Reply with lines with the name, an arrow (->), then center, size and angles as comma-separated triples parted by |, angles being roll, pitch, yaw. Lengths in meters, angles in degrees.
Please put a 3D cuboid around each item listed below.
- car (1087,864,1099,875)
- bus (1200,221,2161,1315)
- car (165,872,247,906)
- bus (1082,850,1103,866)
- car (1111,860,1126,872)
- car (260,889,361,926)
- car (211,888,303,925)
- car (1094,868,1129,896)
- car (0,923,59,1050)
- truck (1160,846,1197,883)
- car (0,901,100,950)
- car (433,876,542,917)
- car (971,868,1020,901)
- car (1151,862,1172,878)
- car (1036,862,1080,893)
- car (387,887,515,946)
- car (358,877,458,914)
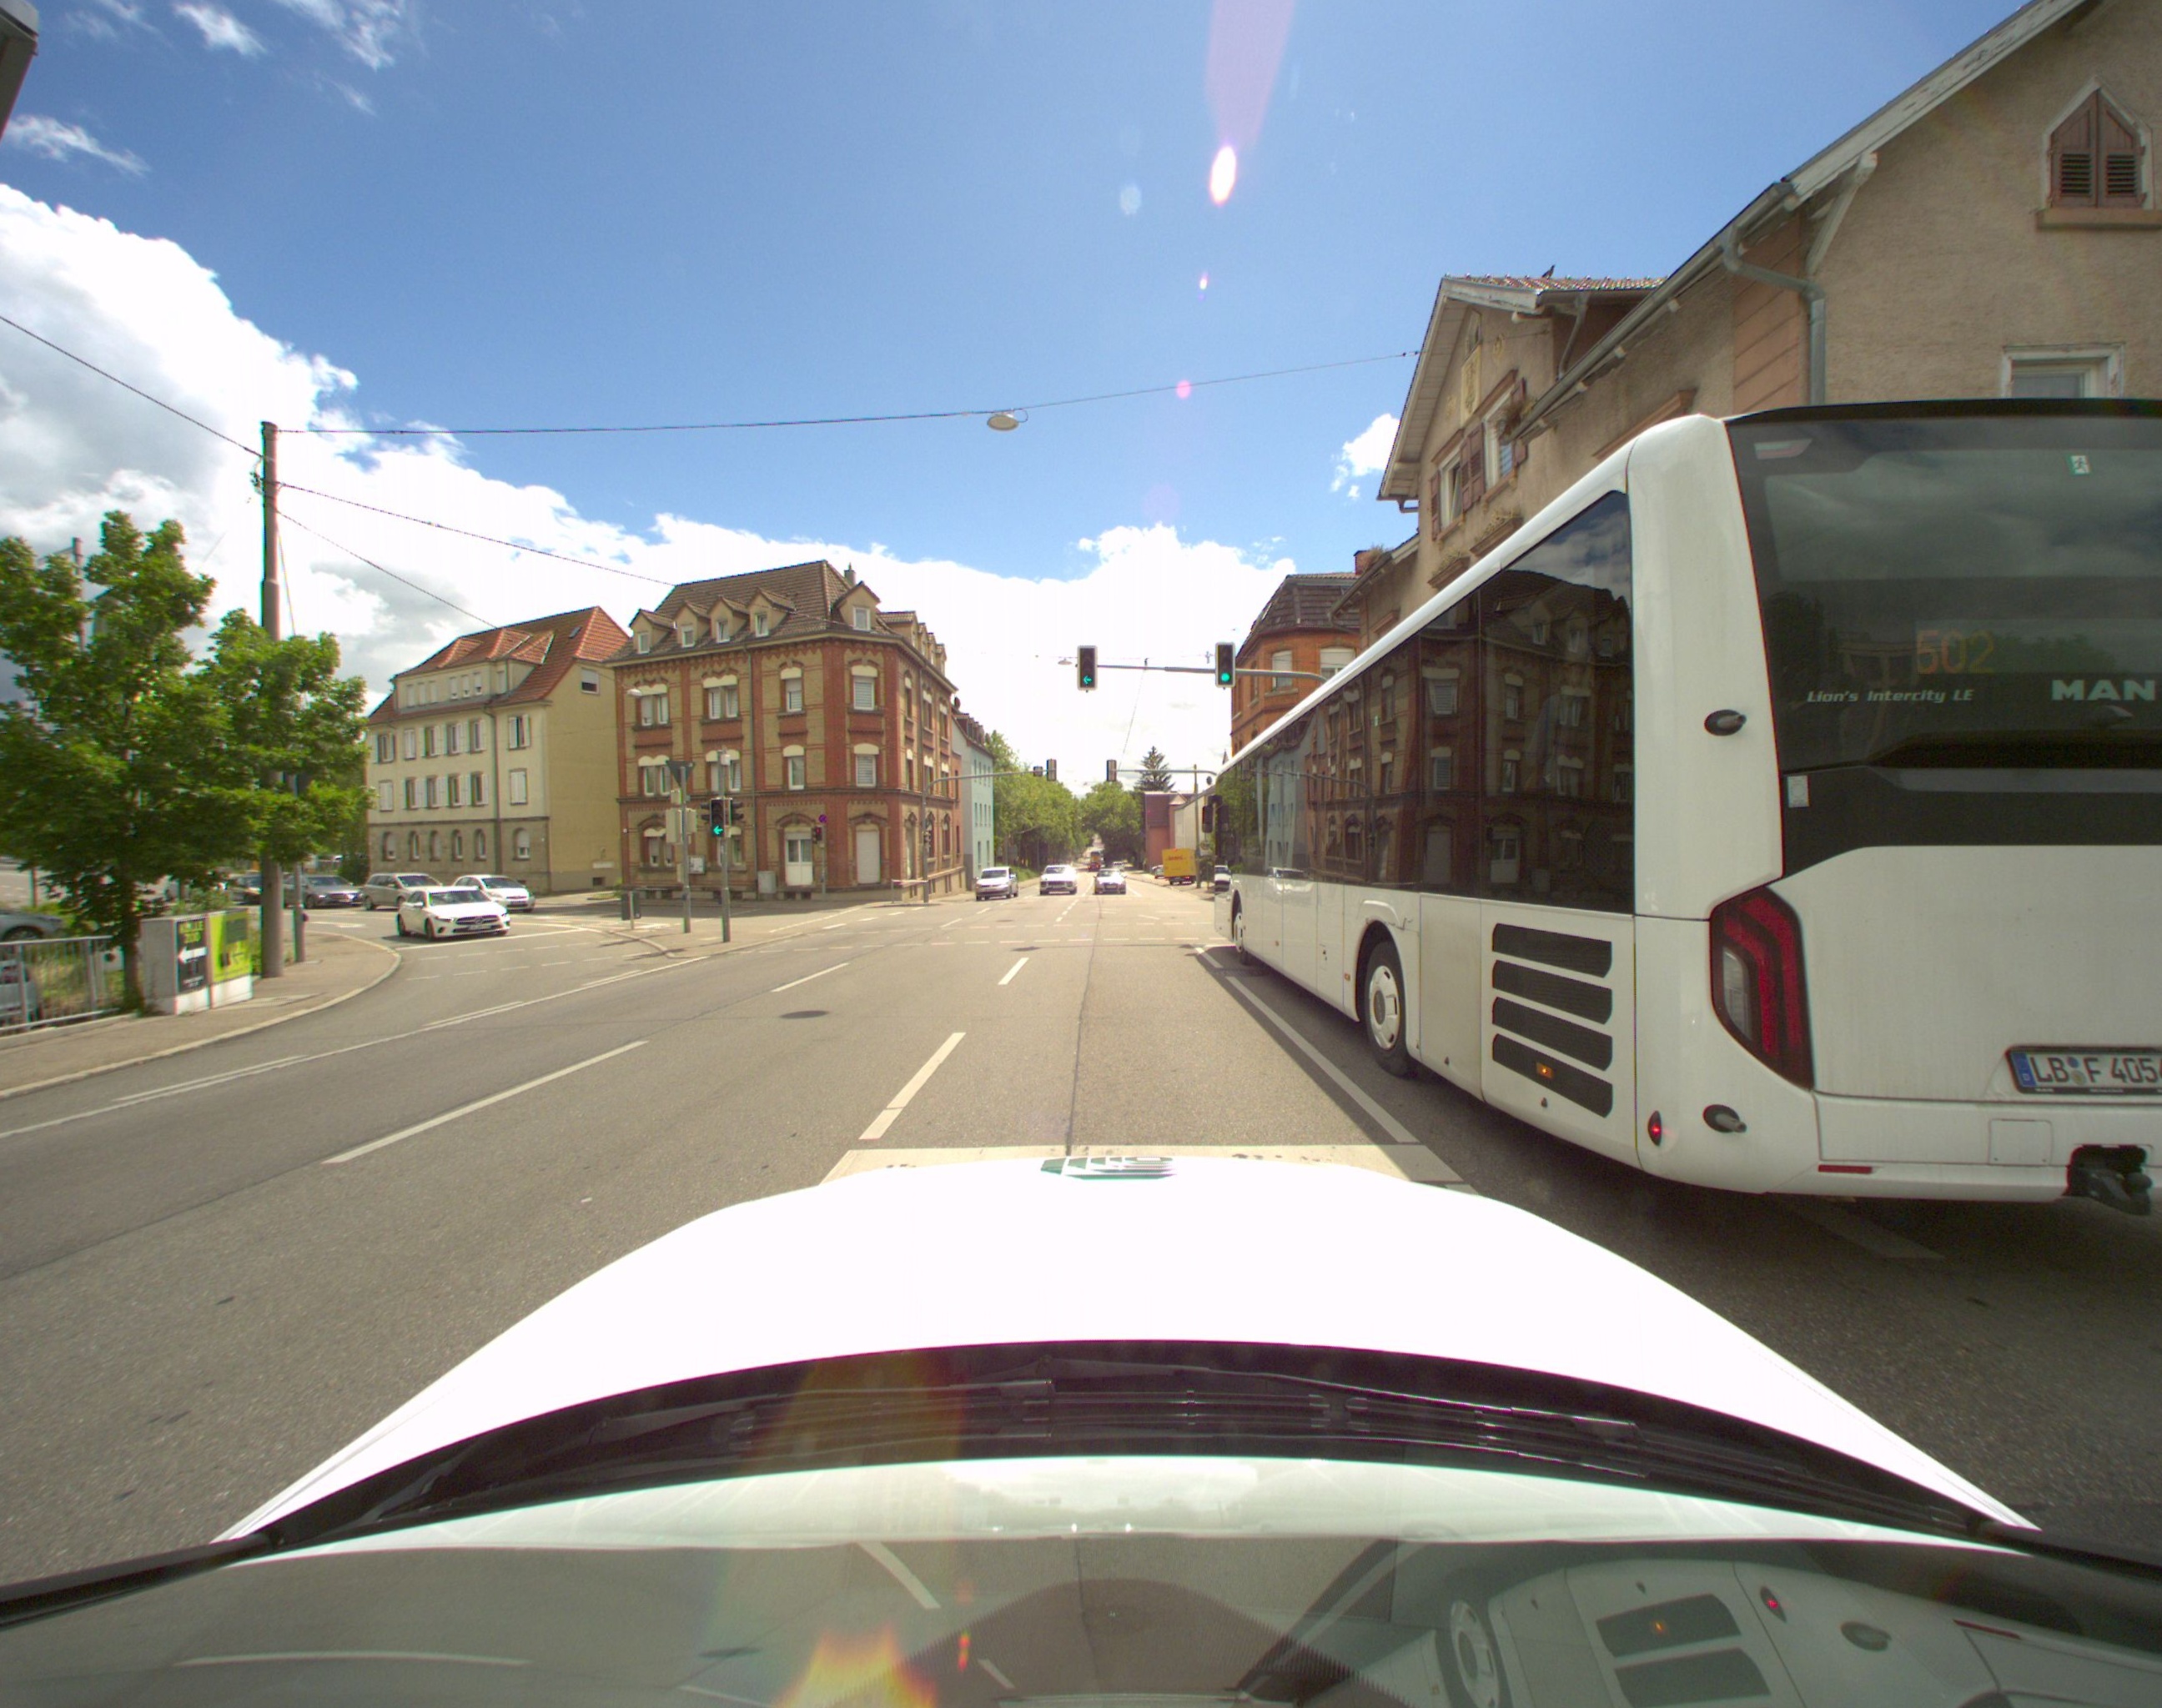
car -> 2.025, 2.590, 136.083 | 1.812, 1.785, 4.001 | -2, -1, 2
bus -> 3.481, -0.201, 8.853 | 2.893, 3.510, 12.491 | -1, -1, 2
car -> -46.761, 1.863, 43.517 | 3.950, 1.720, 1.957 | -2, -1, 27
bus -> 2.603, 1.105, 194.823 | 3.298, 3.631, 11.213 | -2, -1, -8
car -> 5.891, 1.821, 128.967 | 2.086, 1.830, 4.140 | -1, -1, -1
car -> -35.450, 2.432, 37.490 | 3.951, 1.519, 2.011 | -1, -1, 24
car -> -40.181, 2.514, 39.691 | 4.291, 1.586, 2.012 | -1, 0, 29
car -> 1.705, 1.545, 46.080 | 1.858, 1.367, 4.548 | -2, -1, 2
car -> -16.127, 1.850, 11.507 | 3.638, 1.576, 1.766 | -2, -2, 34
truck -> 8.184, 0.914, 67.734 | 2.524, 2.913, 6.593 | -1, -1, 12
car -> -29.265, 1.946, 21.536 | 1.795, 1.187, 4.025 | -2, -1, 31
car -> -23.612, 1.681, 32.386 | 3.951, 1.497, 1.711 | -1, -1, 24
car -> -4.429, 1.543, 42.899 | 1.928, 1.563, 4.390 | -2, -1, 2
car -> 9.142, 1.807, 92.430 | 1.904, 1.817, 3.998 | -1, -1, -1
car -> -1.240, 1.307, 46.706 | 2.199, 1.613, 4.548 | -2, -1, 2
car -> -18.257, 1.750, 23.540 | 4.334, 1.447, 1.875 | -2, -1, 37
car -> -29.221, 1.794, 35.371 | 3.951, 1.519, 1.757 | -1, -1, 24
